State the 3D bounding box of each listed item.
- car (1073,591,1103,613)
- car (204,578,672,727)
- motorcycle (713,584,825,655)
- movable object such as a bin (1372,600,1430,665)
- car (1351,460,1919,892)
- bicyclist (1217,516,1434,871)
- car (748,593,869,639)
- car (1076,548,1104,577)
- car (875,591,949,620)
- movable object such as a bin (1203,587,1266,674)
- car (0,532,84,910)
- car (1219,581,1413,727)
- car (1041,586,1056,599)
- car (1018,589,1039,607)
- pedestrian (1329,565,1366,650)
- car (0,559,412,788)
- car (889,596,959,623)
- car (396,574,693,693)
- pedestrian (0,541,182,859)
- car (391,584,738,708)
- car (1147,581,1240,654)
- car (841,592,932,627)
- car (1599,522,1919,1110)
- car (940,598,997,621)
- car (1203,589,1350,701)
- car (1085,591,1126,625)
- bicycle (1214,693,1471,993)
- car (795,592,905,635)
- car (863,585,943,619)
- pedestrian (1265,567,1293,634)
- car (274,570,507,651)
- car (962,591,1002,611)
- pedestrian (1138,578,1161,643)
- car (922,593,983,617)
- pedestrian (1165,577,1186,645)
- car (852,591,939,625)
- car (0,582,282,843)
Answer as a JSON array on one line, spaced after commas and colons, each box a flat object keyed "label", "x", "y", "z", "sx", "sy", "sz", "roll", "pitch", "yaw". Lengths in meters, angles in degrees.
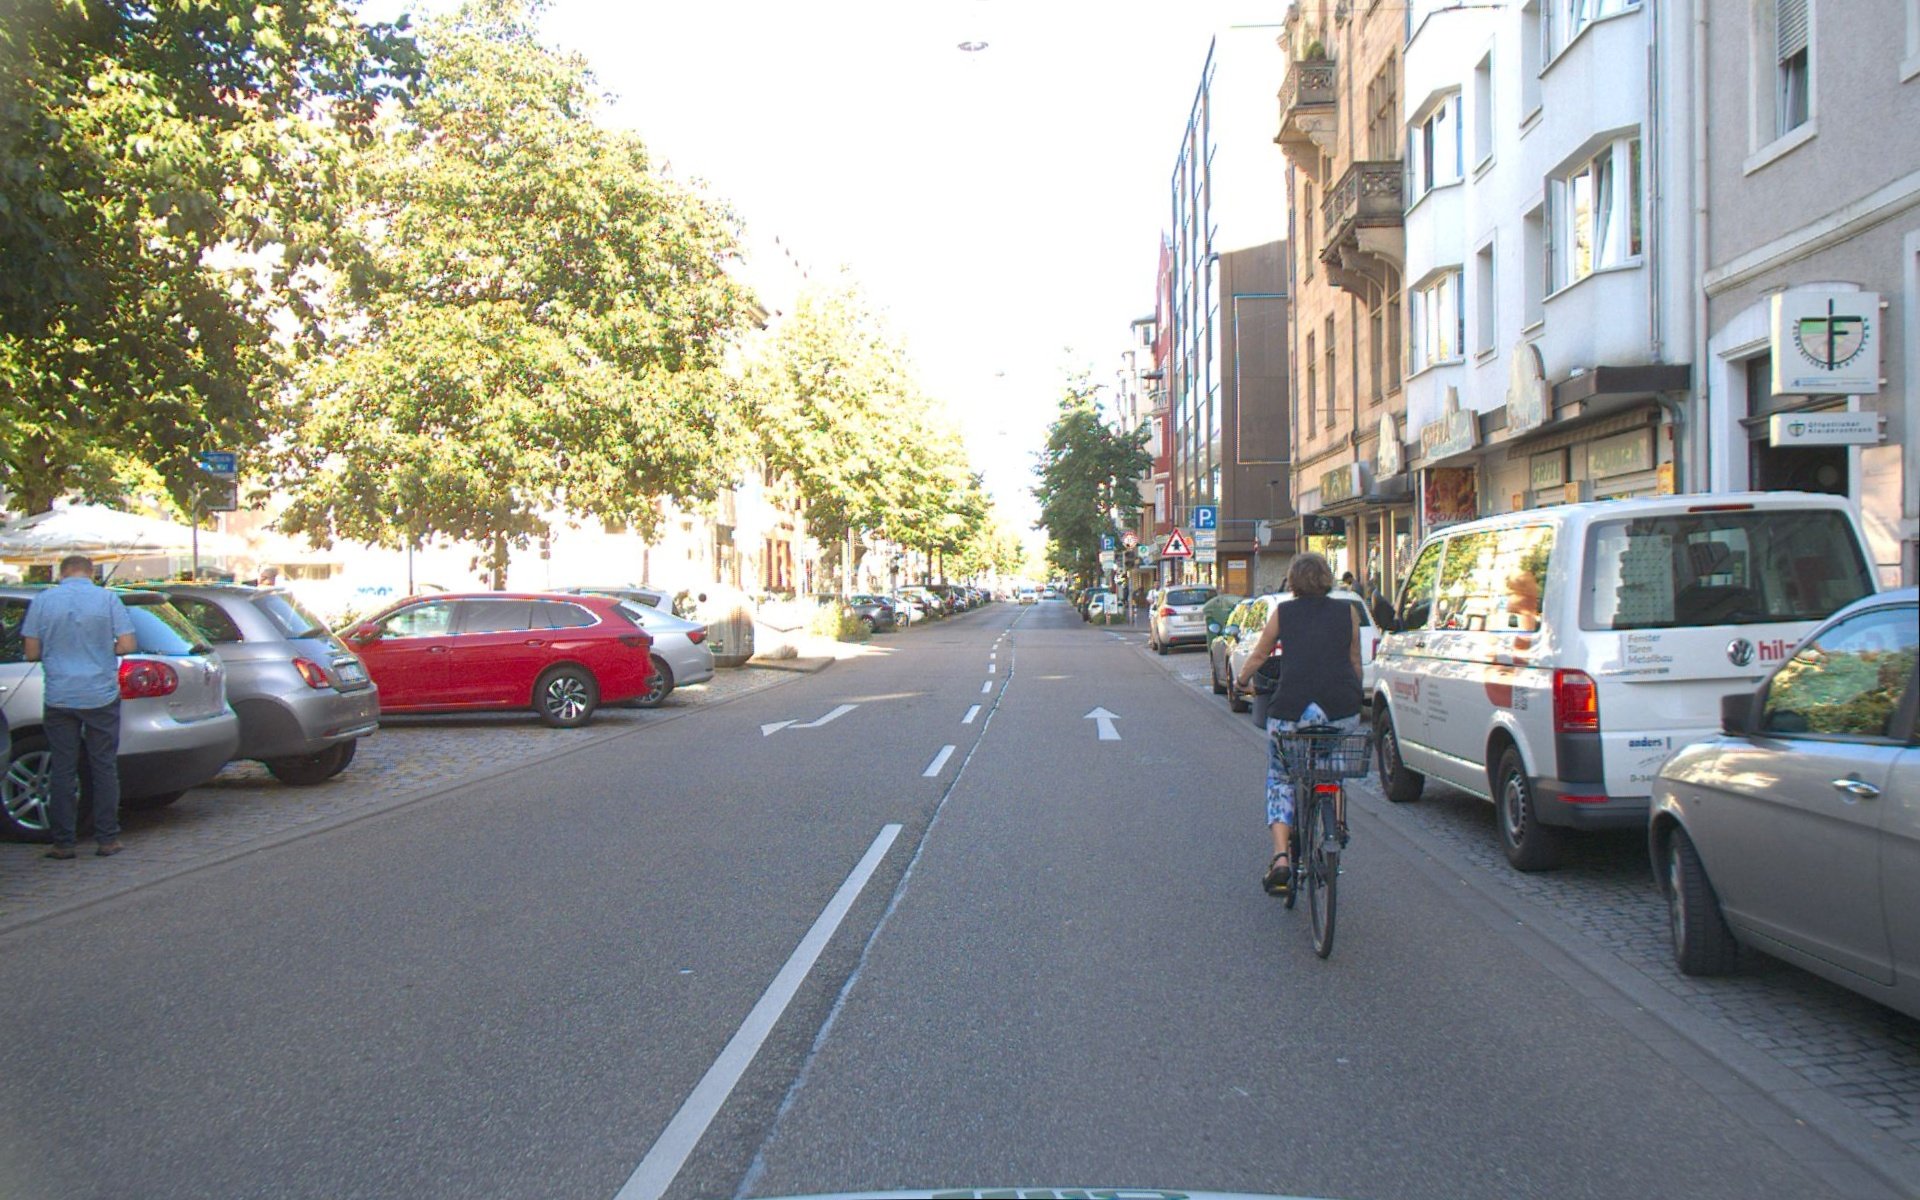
[{"label": "car", "x": 8.838, "y": 0.148, "z": 114.681, "sx": 1.952, "sy": 1.478, "sz": 4.001, "roll": 0, "pitch": 0, "yaw": 3}, {"label": "car", "x": -5.770, "y": 0.585, "z": 18.562, "sx": 4.764, "sy": 1.514, "sz": 1.754, "roll": 1, "pitch": -1, "yaw": -21}, {"label": "motorcycle", "x": -4.542, "y": 0.466, "z": 39.314, "sx": 2.421, "sy": 1.632, "sz": 1.000, "roll": -1, "pitch": 0, "yaw": 22}, {"label": "movable object such as a bin", "x": 8.000, "y": 0.587, "z": 30.002, "sx": 0.858, "sy": 1.143, "sz": 0.829, "roll": 1, "pitch": -1, "yaw": 3}, {"label": "car", "x": 3.970, "y": 0.346, "z": 10.415, "sx": 1.952, "sy": 2.040, "sz": 5.118, "roll": 0, "pitch": 0, "yaw": 2}, {"label": "bicyclist", "x": 1.622, "y": 0.398, "z": 7.502, "sx": 0.770, "sy": 1.478, "sz": 1.096, "roll": 1, "pitch": -1, "yaw": 2}, {"label": "car", "x": -5.218, "y": 0.556, "z": 57.320, "sx": 3.903, "sy": 1.534, "sz": 2.001, "roll": 1, "pitch": 0, "yaw": 4}, {"label": "car", "x": 9.945, "y": -2.865, "z": 126.747, "sx": 1.952, "sy": 2.049, "sz": 4.001, "roll": -2, "pitch": 0, "yaw": 3}, {"label": "car", "x": -2.644, "y": 0.287, "z": 91.496, "sx": 3.903, "sy": 1.534, "sz": 1.895, "roll": 1, "pitch": -1, "yaw": 4}, {"label": "movable object such as a bin", "x": 5.055, "y": 0.549, "z": 30.545, "sx": 1.050, "sy": 1.482, "sz": 1.494, "roll": -3, "pitch": 1, "yaw": 8}, {"label": "car", "x": -6.241, "y": 0.512, "z": 7.128, "sx": 3.918, "sy": 1.697, "sz": 1.994, "roll": 1, "pitch": 0, "yaw": -13}, {"label": "car", "x": 4.225, "y": 0.623, "z": 20.133, "sx": 1.682, "sy": 1.541, "sz": 3.584, "roll": -3, "pitch": -1, "yaw": 3}, {"label": "car", "x": 11.267, "y": -0.914, "z": 210.959, "sx": 1.831, "sy": 1.583, "sz": 4.002, "roll": 1, "pitch": -1, "yaw": 4}, {"label": "car", "x": 6.584, "y": -0.186, "z": 158.440, "sx": 1.952, "sy": 1.583, "sz": 4.002, "roll": 1, "pitch": -1, "yaw": 4}, {"label": "pedestrian", "x": 8.398, "y": 0.165, "z": 35.862, "sx": 0.595, "sy": 1.819, "sz": 0.683, "roll": -2, "pitch": -1, "yaw": 2}, {"label": "car", "x": -6.514, "y": 0.531, "z": 12.834, "sx": 3.905, "sy": 1.626, "sz": 1.749, "roll": 1, "pitch": -1, "yaw": 0}, {"label": "car", "x": -2.087, "y": 0.553, "z": 96.093, "sx": 3.903, "sy": 1.534, "sz": 2.001, "roll": 1, "pitch": 0, "yaw": 3}, {"label": "car", "x": -6.063, "y": 0.502, "z": 24.124, "sx": 3.935, "sy": 1.614, "sz": 1.817, "roll": 1, "pitch": -1, "yaw": -24}, {"label": "pedestrian", "x": -4.795, "y": 0.536, "z": 9.121, "sx": 0.685, "sy": 1.678, "sz": 0.646, "roll": 1, "pitch": -1, "yaw": -3}, {"label": "car", "x": -5.177, "y": 0.608, "z": 21.699, "sx": 4.167, "sy": 1.503, "sz": 1.722, "roll": 1, "pitch": -1, "yaw": -25}, {"label": "car", "x": 5.753, "y": 0.444, "z": 41.224, "sx": 1.859, "sy": 1.704, "sz": 4.826, "roll": 1, "pitch": -1, "yaw": 3}, {"label": "car", "x": -3.313, "y": 0.425, "z": 75.427, "sx": 3.903, "sy": 1.534, "sz": 2.001, "roll": 1, "pitch": 0, "yaw": 4}, {"label": "car", "x": 3.552, "y": 0.606, "z": 5.423, "sx": 1.663, "sy": 1.632, "sz": 3.758, "roll": 0, "pitch": -1, "yaw": 4}, {"label": "car", "x": 0.620, "y": 0.691, "z": 121.085, "sx": 3.902, "sy": 1.534, "sz": 2.001, "roll": 2, "pitch": 0, "yaw": 7}, {"label": "car", "x": 4.520, "y": 0.624, "z": 24.054, "sx": 1.643, "sy": 1.473, "sz": 3.787, "roll": 1, "pitch": -1, "yaw": 4}, {"label": "car", "x": 7.281, "y": 0.412, "z": 82.400, "sx": 1.951, "sy": 1.646, "sz": 4.012, "roll": 1, "pitch": -1, "yaw": 6}, {"label": "bicycle", "x": 1.618, "y": 0.970, "z": 7.448, "sx": 0.639, "sy": 0.975, "sz": 2.699, "roll": 1, "pitch": -1, "yaw": 3}, {"label": "car", "x": -4.134, "y": 0.508, "z": 62.734, "sx": 3.903, "sy": 1.534, "sz": 2.001, "roll": 1, "pitch": 0, "yaw": 4}, {"label": "car", "x": -2.901, "y": 0.099, "z": 85.294, "sx": 3.903, "sy": 1.703, "sz": 2.090, "roll": 1, "pitch": -1, "yaw": 4}, {"label": "pedestrian", "x": 9.118, "y": 0.008, "z": 47.199, "sx": 0.633, "sy": 1.904, "sz": 0.626, "roll": 0, "pitch": -1, "yaw": 26}, {"label": "car", "x": -13.824, "y": 0.287, "z": 40.138, "sx": 5.193, "sy": 1.831, "sz": 2.148, "roll": 1, "pitch": -1, "yaw": -24}, {"label": "car", "x": 2.366, "y": 0.117, "z": 177.867, "sx": 3.902, "sy": 2.049, "sz": 2.002, "roll": 0, "pitch": 0, "yaw": 13}, {"label": "pedestrian", "x": 5.189, "y": 0.290, "z": 45.318, "sx": 0.601, "sy": 1.765, "sz": 0.634, "roll": 1, "pitch": -1, "yaw": 4}, {"label": "car", "x": -0.512, "y": 0.353, "z": 113.383, "sx": 3.902, "sy": 1.534, "sz": 2.001, "roll": 2, "pitch": 0, "yaw": 7}, {"label": "pedestrian", "x": 5.839, "y": 0.296, "z": 44.804, "sx": 0.501, "sy": 1.811, "sz": 0.612, "roll": 1, "pitch": -1, "yaw": 1}, {"label": "car", "x": -3.006, "y": 0.374, "z": 77.765, "sx": 3.903, "sy": 1.534, "sz": 2.001, "roll": 1, "pitch": 0, "yaw": 4}, {"label": "car", "x": -6.475, "y": 0.627, "z": 10.121, "sx": 3.911, "sy": 1.474, "sz": 1.800, "roll": 1, "pitch": -1, "yaw": -7}]
